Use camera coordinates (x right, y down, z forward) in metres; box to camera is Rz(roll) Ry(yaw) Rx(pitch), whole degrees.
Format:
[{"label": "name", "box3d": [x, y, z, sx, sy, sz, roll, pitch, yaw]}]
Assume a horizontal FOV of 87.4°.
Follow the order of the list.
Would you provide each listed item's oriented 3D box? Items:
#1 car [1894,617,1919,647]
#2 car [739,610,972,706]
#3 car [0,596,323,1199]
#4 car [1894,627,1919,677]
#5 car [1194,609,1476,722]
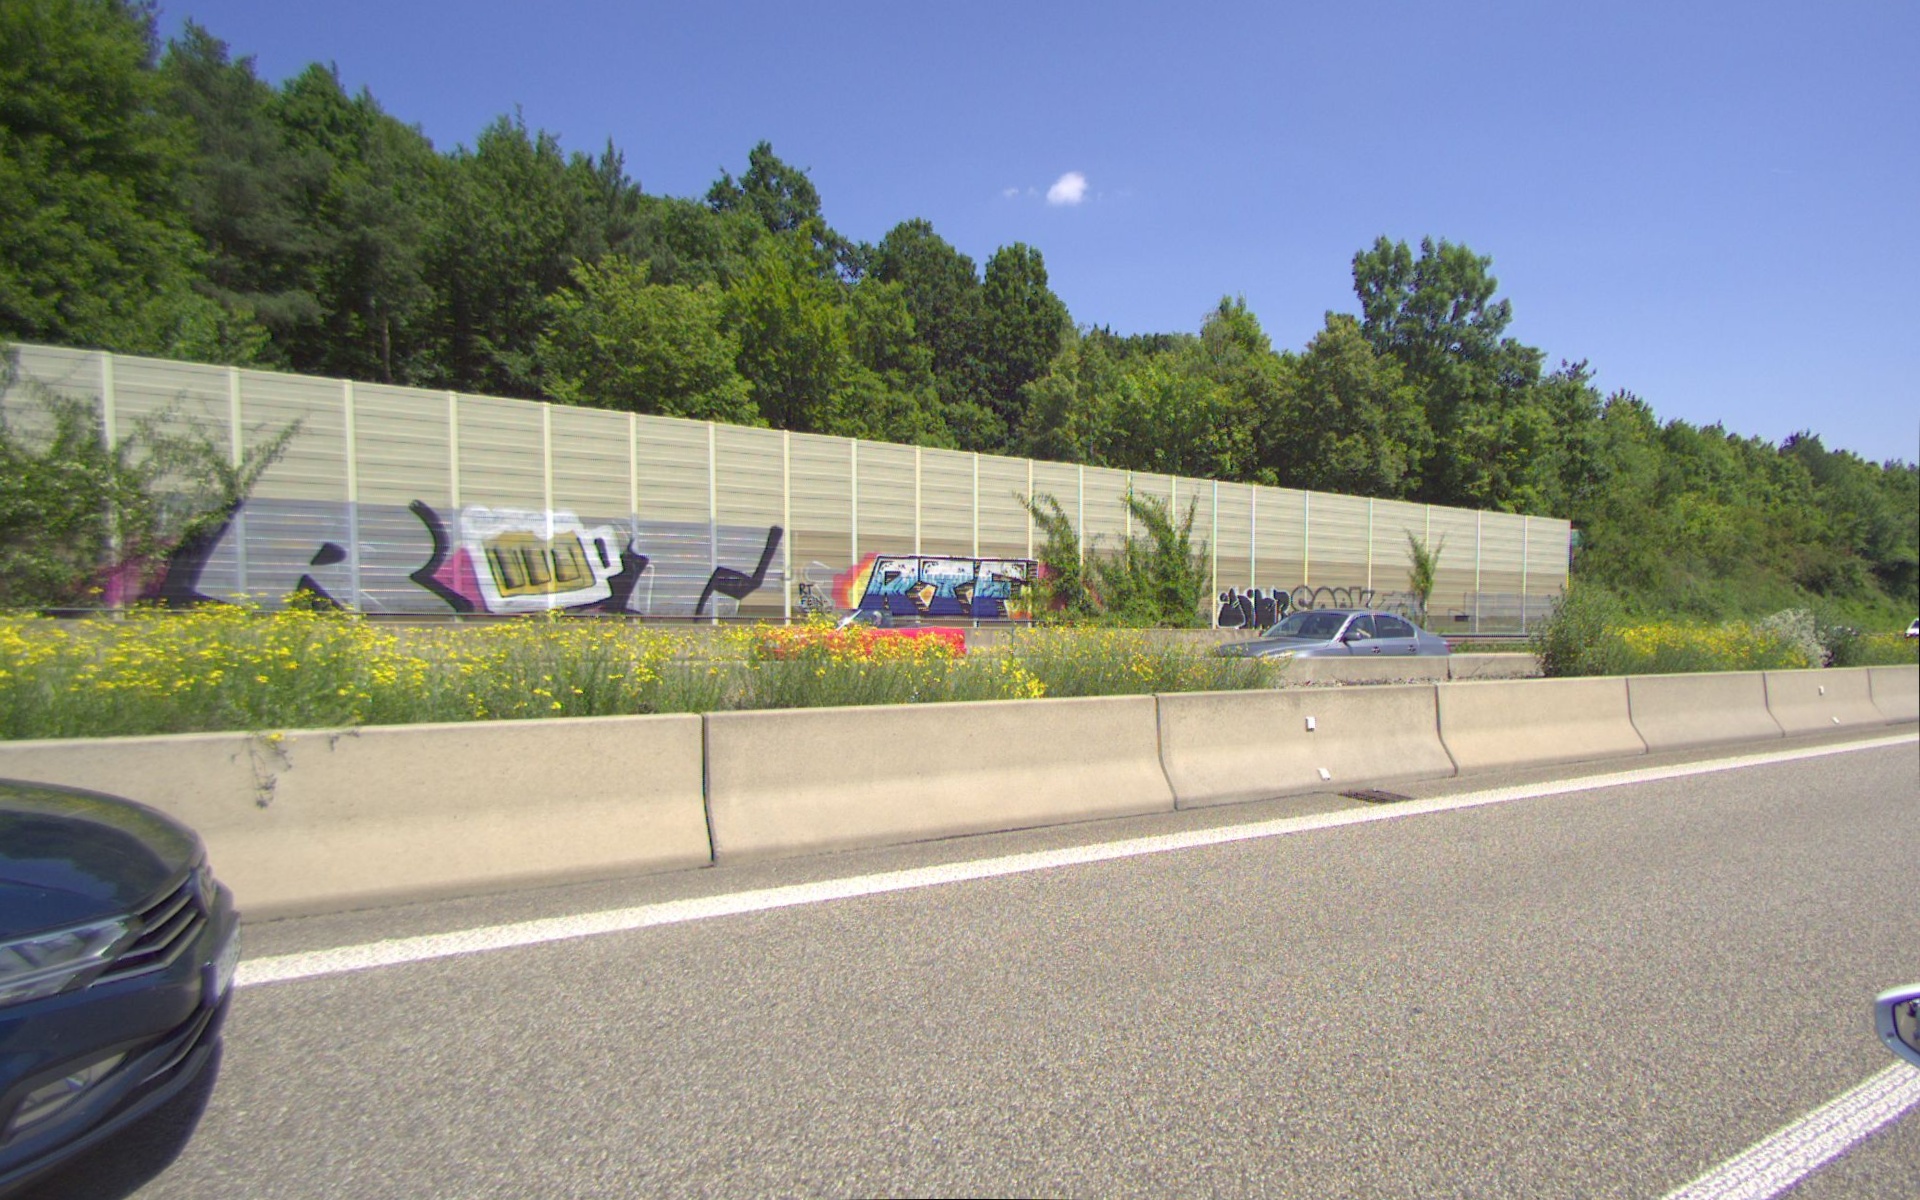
[{"label": "car", "box3d": [63.314, 2.153, 65.783, 5.247, 1.892, 1.910, 2, -1, -33]}, {"label": "car", "box3d": [-1.993, 1.087, 19.454, 4.139, 1.662, 1.731, 2, -1, -30]}, {"label": "car", "box3d": [-3.952, 0.688, 1.761, 4.674, 1.447, 1.724, 1, 0, -30]}, {"label": "car", "box3d": [30.951, 1.629, 31.420, 3.711, 1.487, 1.608, 1, 0, -32]}, {"label": "car", "box3d": [6.143, 0.993, 16.304, 4.659, 1.598, 1.738, 1, 0, -30]}]
